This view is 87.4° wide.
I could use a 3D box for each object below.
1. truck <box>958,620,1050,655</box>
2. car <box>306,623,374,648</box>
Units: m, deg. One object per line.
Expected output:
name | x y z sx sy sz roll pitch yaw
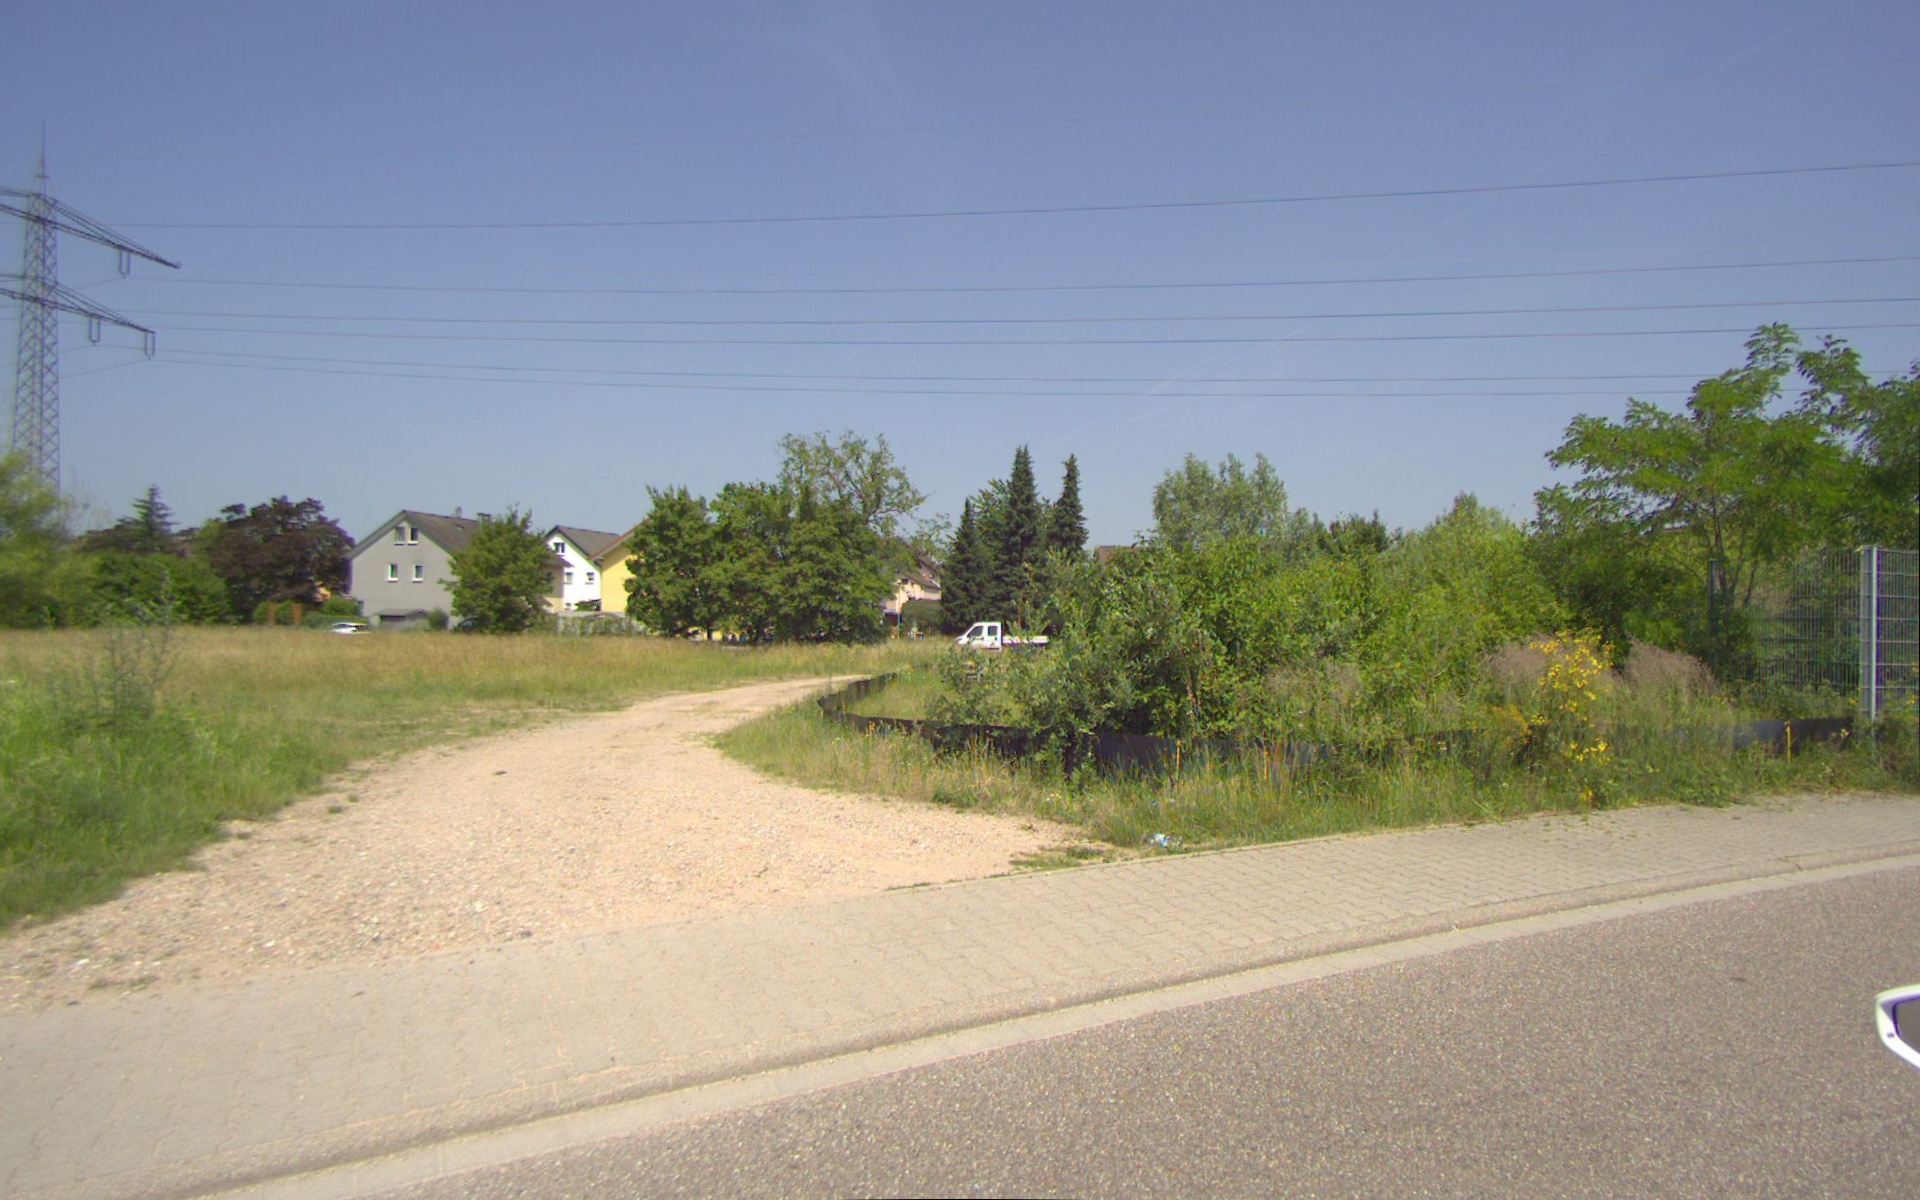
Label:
truck | 2.776 2.400 64.203 5.774 2.037 2.121 1 -1 0
car | -44.068 2.496 71.437 3.920 1.632 2.001 1 -1 16
